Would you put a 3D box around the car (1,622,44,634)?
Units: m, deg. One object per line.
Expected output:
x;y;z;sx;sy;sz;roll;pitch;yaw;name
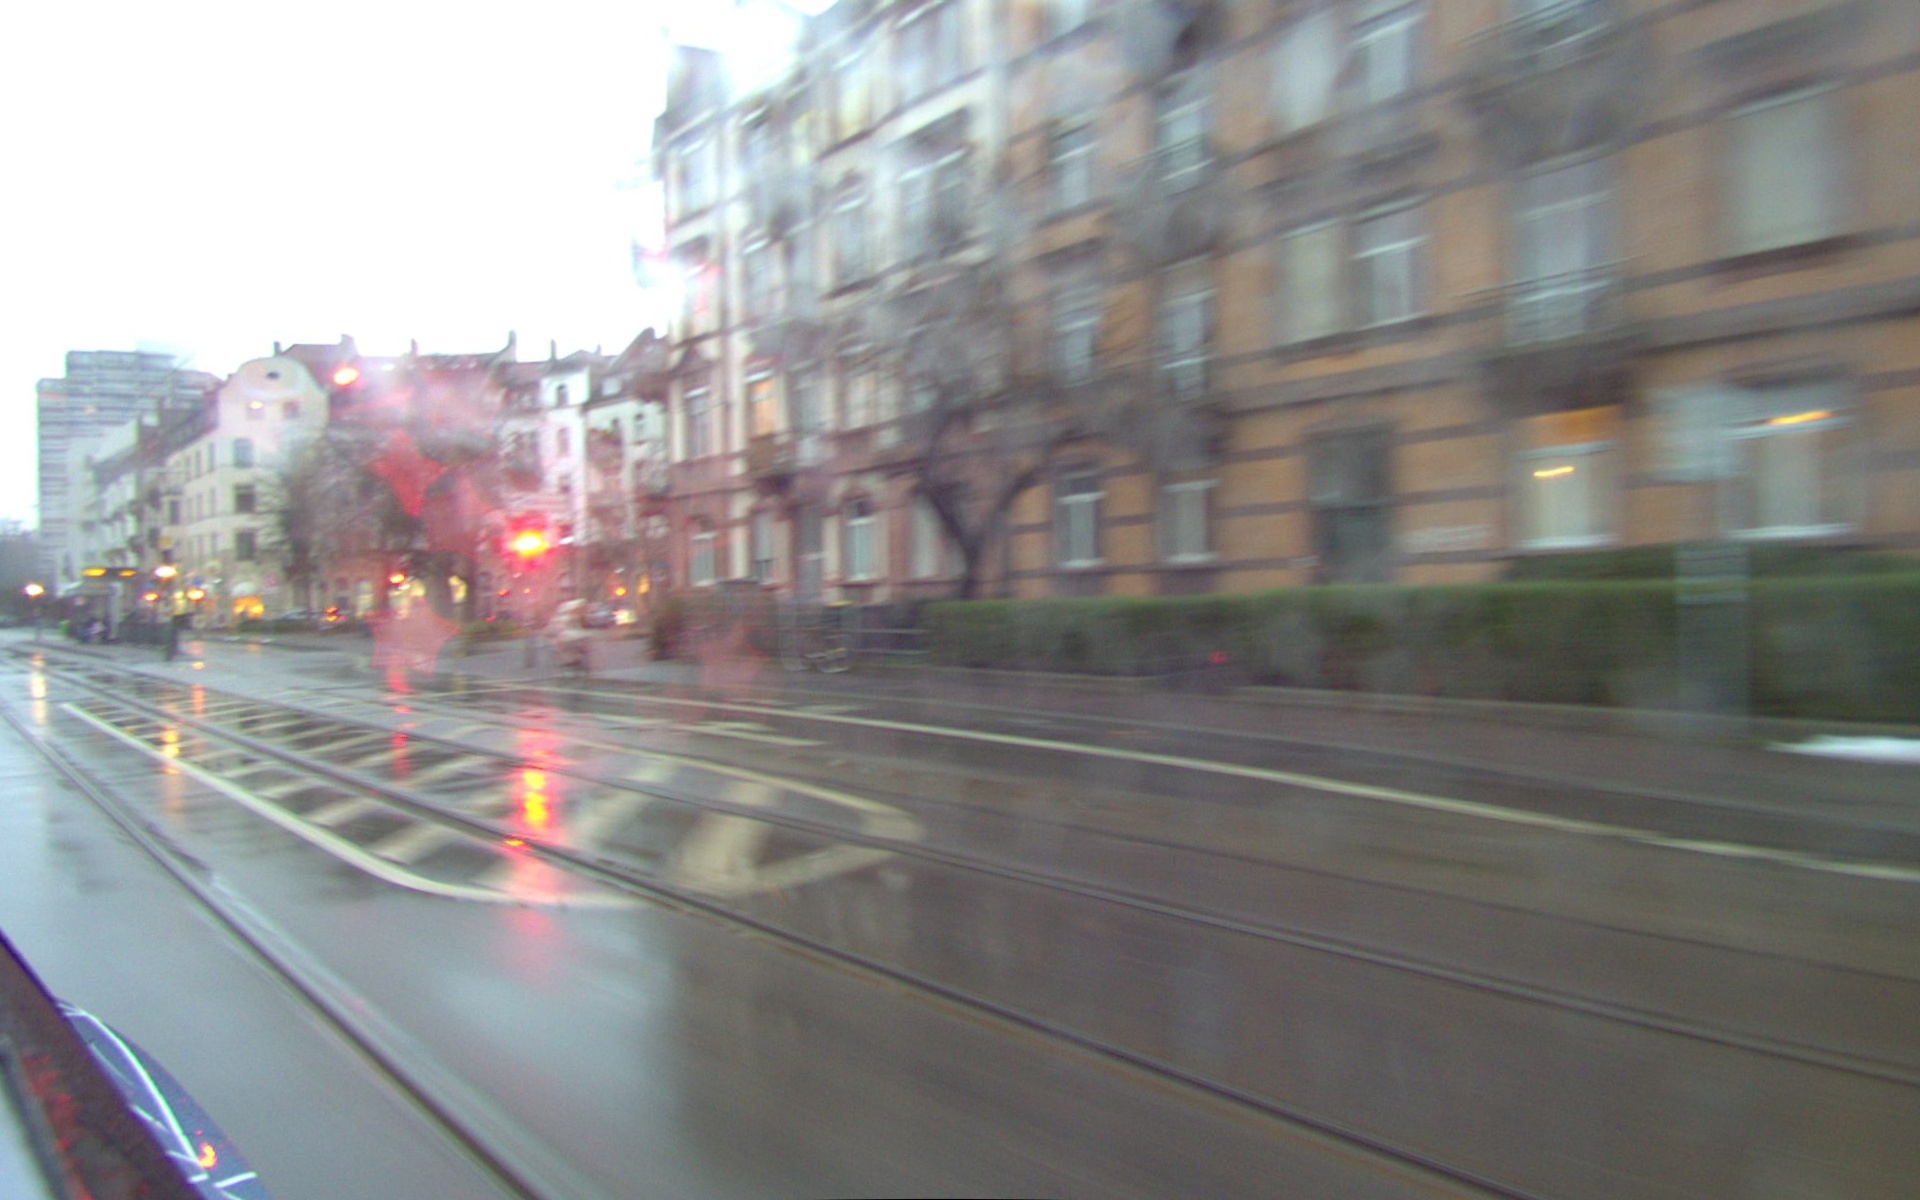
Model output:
-116.260;3.456;125.505;1.728;1.424;3.788;-1;0;44;car

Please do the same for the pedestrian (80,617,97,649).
-39.459;1.486;45.831;0.453;1.414;0.468;-1;3;43;pedestrian

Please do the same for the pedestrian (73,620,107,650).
-38.848;1.561;45.188;0.506;1.263;1.044;-1;3;43;pedestrian

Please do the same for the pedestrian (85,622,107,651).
-38.271;1.609;44.832;0.517;1.227;0.645;-1;3;43;pedestrian

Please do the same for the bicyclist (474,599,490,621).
-29.570;0.624;62.642;0.762;1.374;0.525;-1;2;29;bicyclist

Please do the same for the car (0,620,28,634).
-132.358;3.726;140.793;1.728;1.730;3.788;-2;2;44;car

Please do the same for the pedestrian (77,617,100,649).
-39.790;1.489;46.211;0.578;1.414;0.676;-1;3;43;pedestrian

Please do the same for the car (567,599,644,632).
-20.098;0.866;57.398;3.830;1.785;1.869;-1;-1;18;car

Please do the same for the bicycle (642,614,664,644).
-8.498;0.789;28.041;0.394;0.764;1.815;-1;0;-11;bicycle

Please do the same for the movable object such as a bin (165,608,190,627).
-62.152;1.405;80.372;1.281;1.382;1.335;-1;3;42;movable object such as a bin

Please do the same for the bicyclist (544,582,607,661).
-7.057;0.380;18.555;0.944;1.374;0.696;-1;2;44;bicyclist

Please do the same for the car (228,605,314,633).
-44.009;1.190;64.777;4.268;1.595;1.943;-2;0;-27;car

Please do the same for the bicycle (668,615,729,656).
-5.757;0.761;22.201;1.850;0.869;0.395;-1;0;45;bicycle

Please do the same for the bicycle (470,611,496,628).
-29.525;1.183;62.606;1.803;1.014;0.487;-1;0;29;bicycle

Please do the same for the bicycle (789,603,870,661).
-2.434;0.576;18.686;1.850;1.014;0.411;-1;0;45;bicycle

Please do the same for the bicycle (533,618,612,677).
-7.172;0.857;18.697;1.804;1.014;0.674;-1;0;45;bicycle
